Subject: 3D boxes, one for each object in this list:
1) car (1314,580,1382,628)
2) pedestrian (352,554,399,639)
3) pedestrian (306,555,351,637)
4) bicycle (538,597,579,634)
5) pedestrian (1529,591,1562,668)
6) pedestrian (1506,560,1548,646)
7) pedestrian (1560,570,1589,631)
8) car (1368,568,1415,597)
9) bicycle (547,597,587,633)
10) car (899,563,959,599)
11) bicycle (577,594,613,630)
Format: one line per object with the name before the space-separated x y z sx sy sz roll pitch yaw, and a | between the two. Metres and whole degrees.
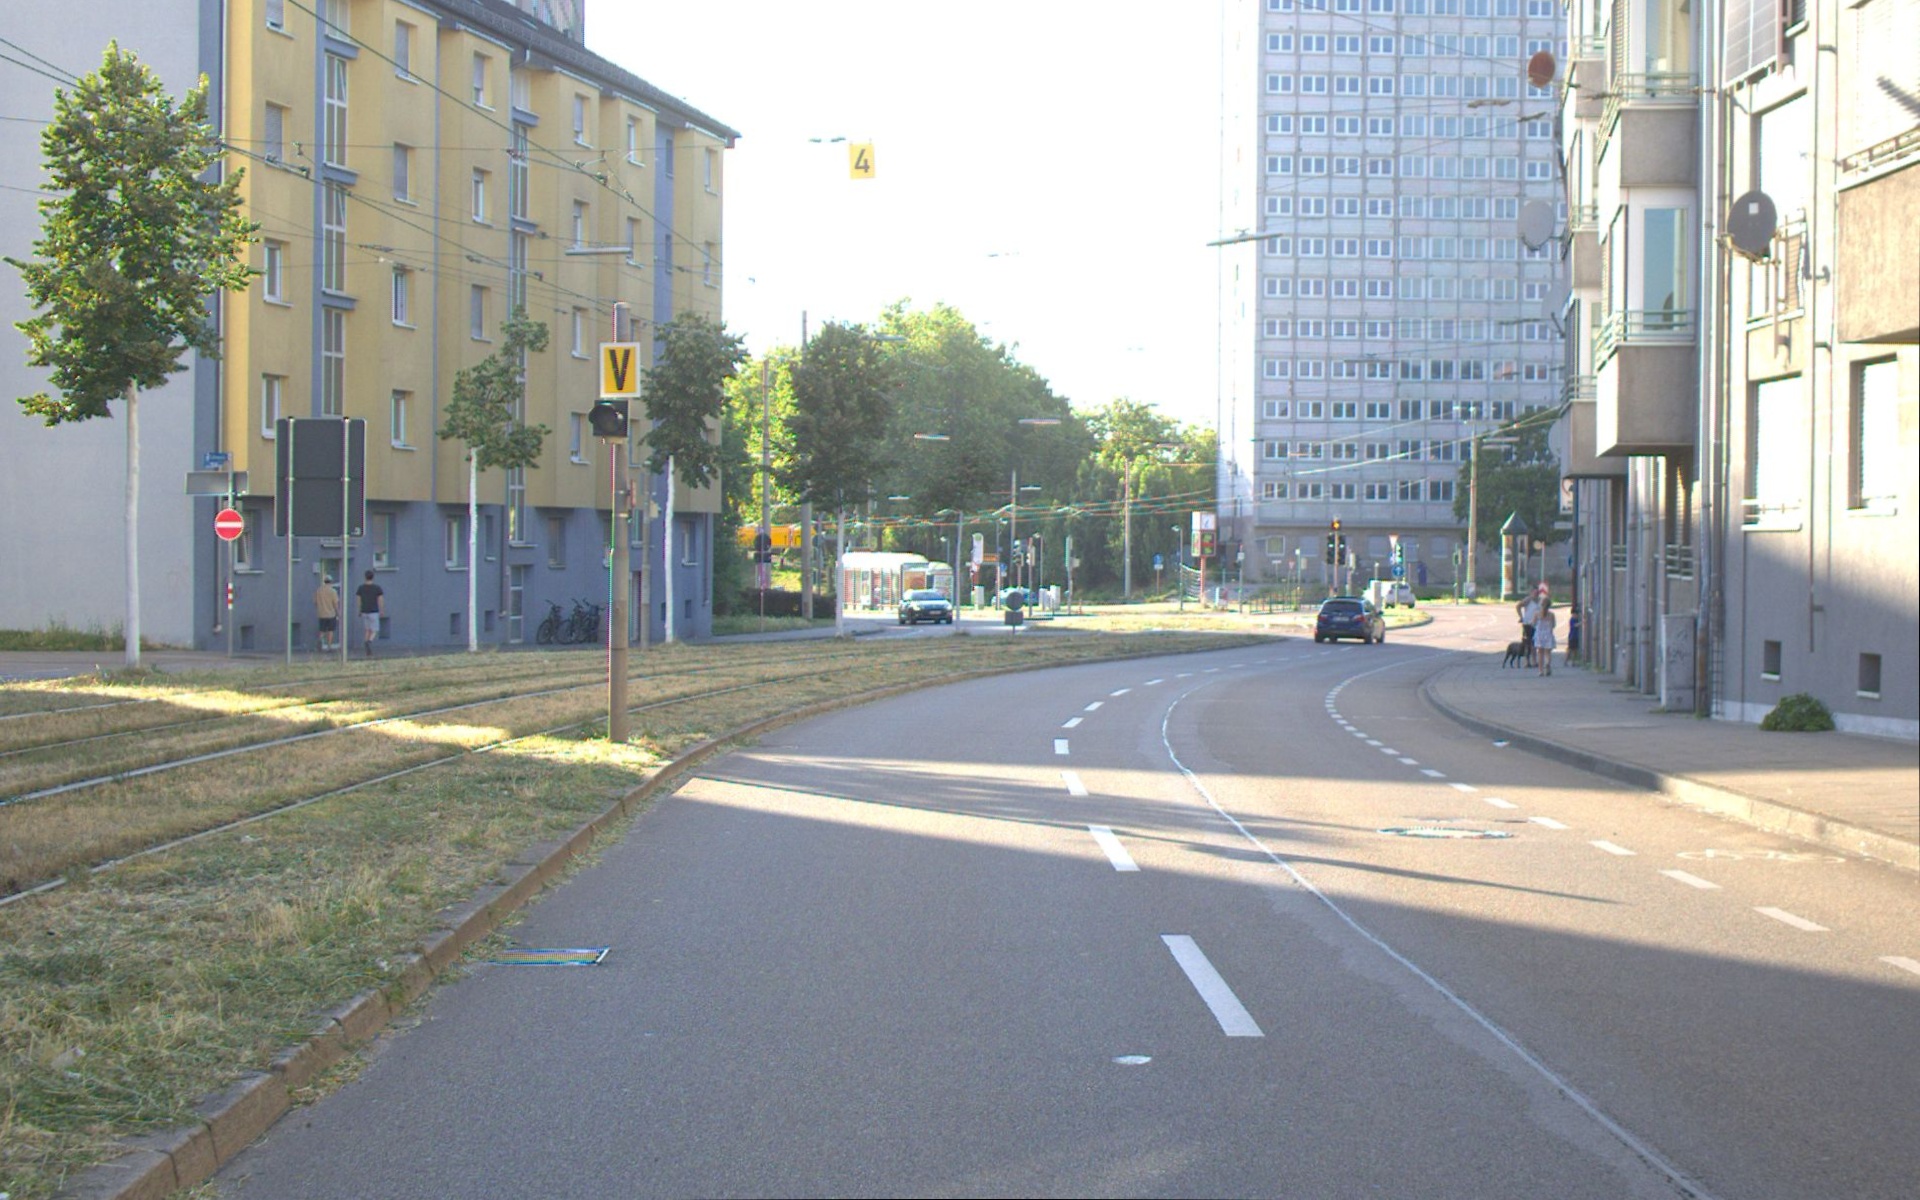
car | 12.157 0.113 107.651 1.773 1.417 3.854 0 1 12
pedestrian | -12.521 -0.090 73.692 0.593 1.767 0.885 5 1 10
pedestrian | -13.433 -0.094 73.150 0.616 1.689 0.706 5 1 10
bicycle | -10.491 0.406 89.813 0.427 0.922 1.911 4 1 11
pedestrian | 10.150 0.511 59.582 0.514 1.340 0.609 0 -1 6
pedestrian | 11.703 0.050 70.930 0.830 1.766 0.995 0 1 10
pedestrian | 12.556 0.008 70.226 0.587 1.247 0.584 0 1 10
car | 23.300 -0.962 185.550 1.993 1.525 4.000 0 1 -1
bicycle | -10.398 0.390 91.090 0.427 0.922 1.911 4 1 11
car | -1.320 -0.826 149.041 1.794 1.464 4.794 -1 0 9
bicycle | -9.927 0.312 93.581 0.427 0.956 1.911 1 0 11
